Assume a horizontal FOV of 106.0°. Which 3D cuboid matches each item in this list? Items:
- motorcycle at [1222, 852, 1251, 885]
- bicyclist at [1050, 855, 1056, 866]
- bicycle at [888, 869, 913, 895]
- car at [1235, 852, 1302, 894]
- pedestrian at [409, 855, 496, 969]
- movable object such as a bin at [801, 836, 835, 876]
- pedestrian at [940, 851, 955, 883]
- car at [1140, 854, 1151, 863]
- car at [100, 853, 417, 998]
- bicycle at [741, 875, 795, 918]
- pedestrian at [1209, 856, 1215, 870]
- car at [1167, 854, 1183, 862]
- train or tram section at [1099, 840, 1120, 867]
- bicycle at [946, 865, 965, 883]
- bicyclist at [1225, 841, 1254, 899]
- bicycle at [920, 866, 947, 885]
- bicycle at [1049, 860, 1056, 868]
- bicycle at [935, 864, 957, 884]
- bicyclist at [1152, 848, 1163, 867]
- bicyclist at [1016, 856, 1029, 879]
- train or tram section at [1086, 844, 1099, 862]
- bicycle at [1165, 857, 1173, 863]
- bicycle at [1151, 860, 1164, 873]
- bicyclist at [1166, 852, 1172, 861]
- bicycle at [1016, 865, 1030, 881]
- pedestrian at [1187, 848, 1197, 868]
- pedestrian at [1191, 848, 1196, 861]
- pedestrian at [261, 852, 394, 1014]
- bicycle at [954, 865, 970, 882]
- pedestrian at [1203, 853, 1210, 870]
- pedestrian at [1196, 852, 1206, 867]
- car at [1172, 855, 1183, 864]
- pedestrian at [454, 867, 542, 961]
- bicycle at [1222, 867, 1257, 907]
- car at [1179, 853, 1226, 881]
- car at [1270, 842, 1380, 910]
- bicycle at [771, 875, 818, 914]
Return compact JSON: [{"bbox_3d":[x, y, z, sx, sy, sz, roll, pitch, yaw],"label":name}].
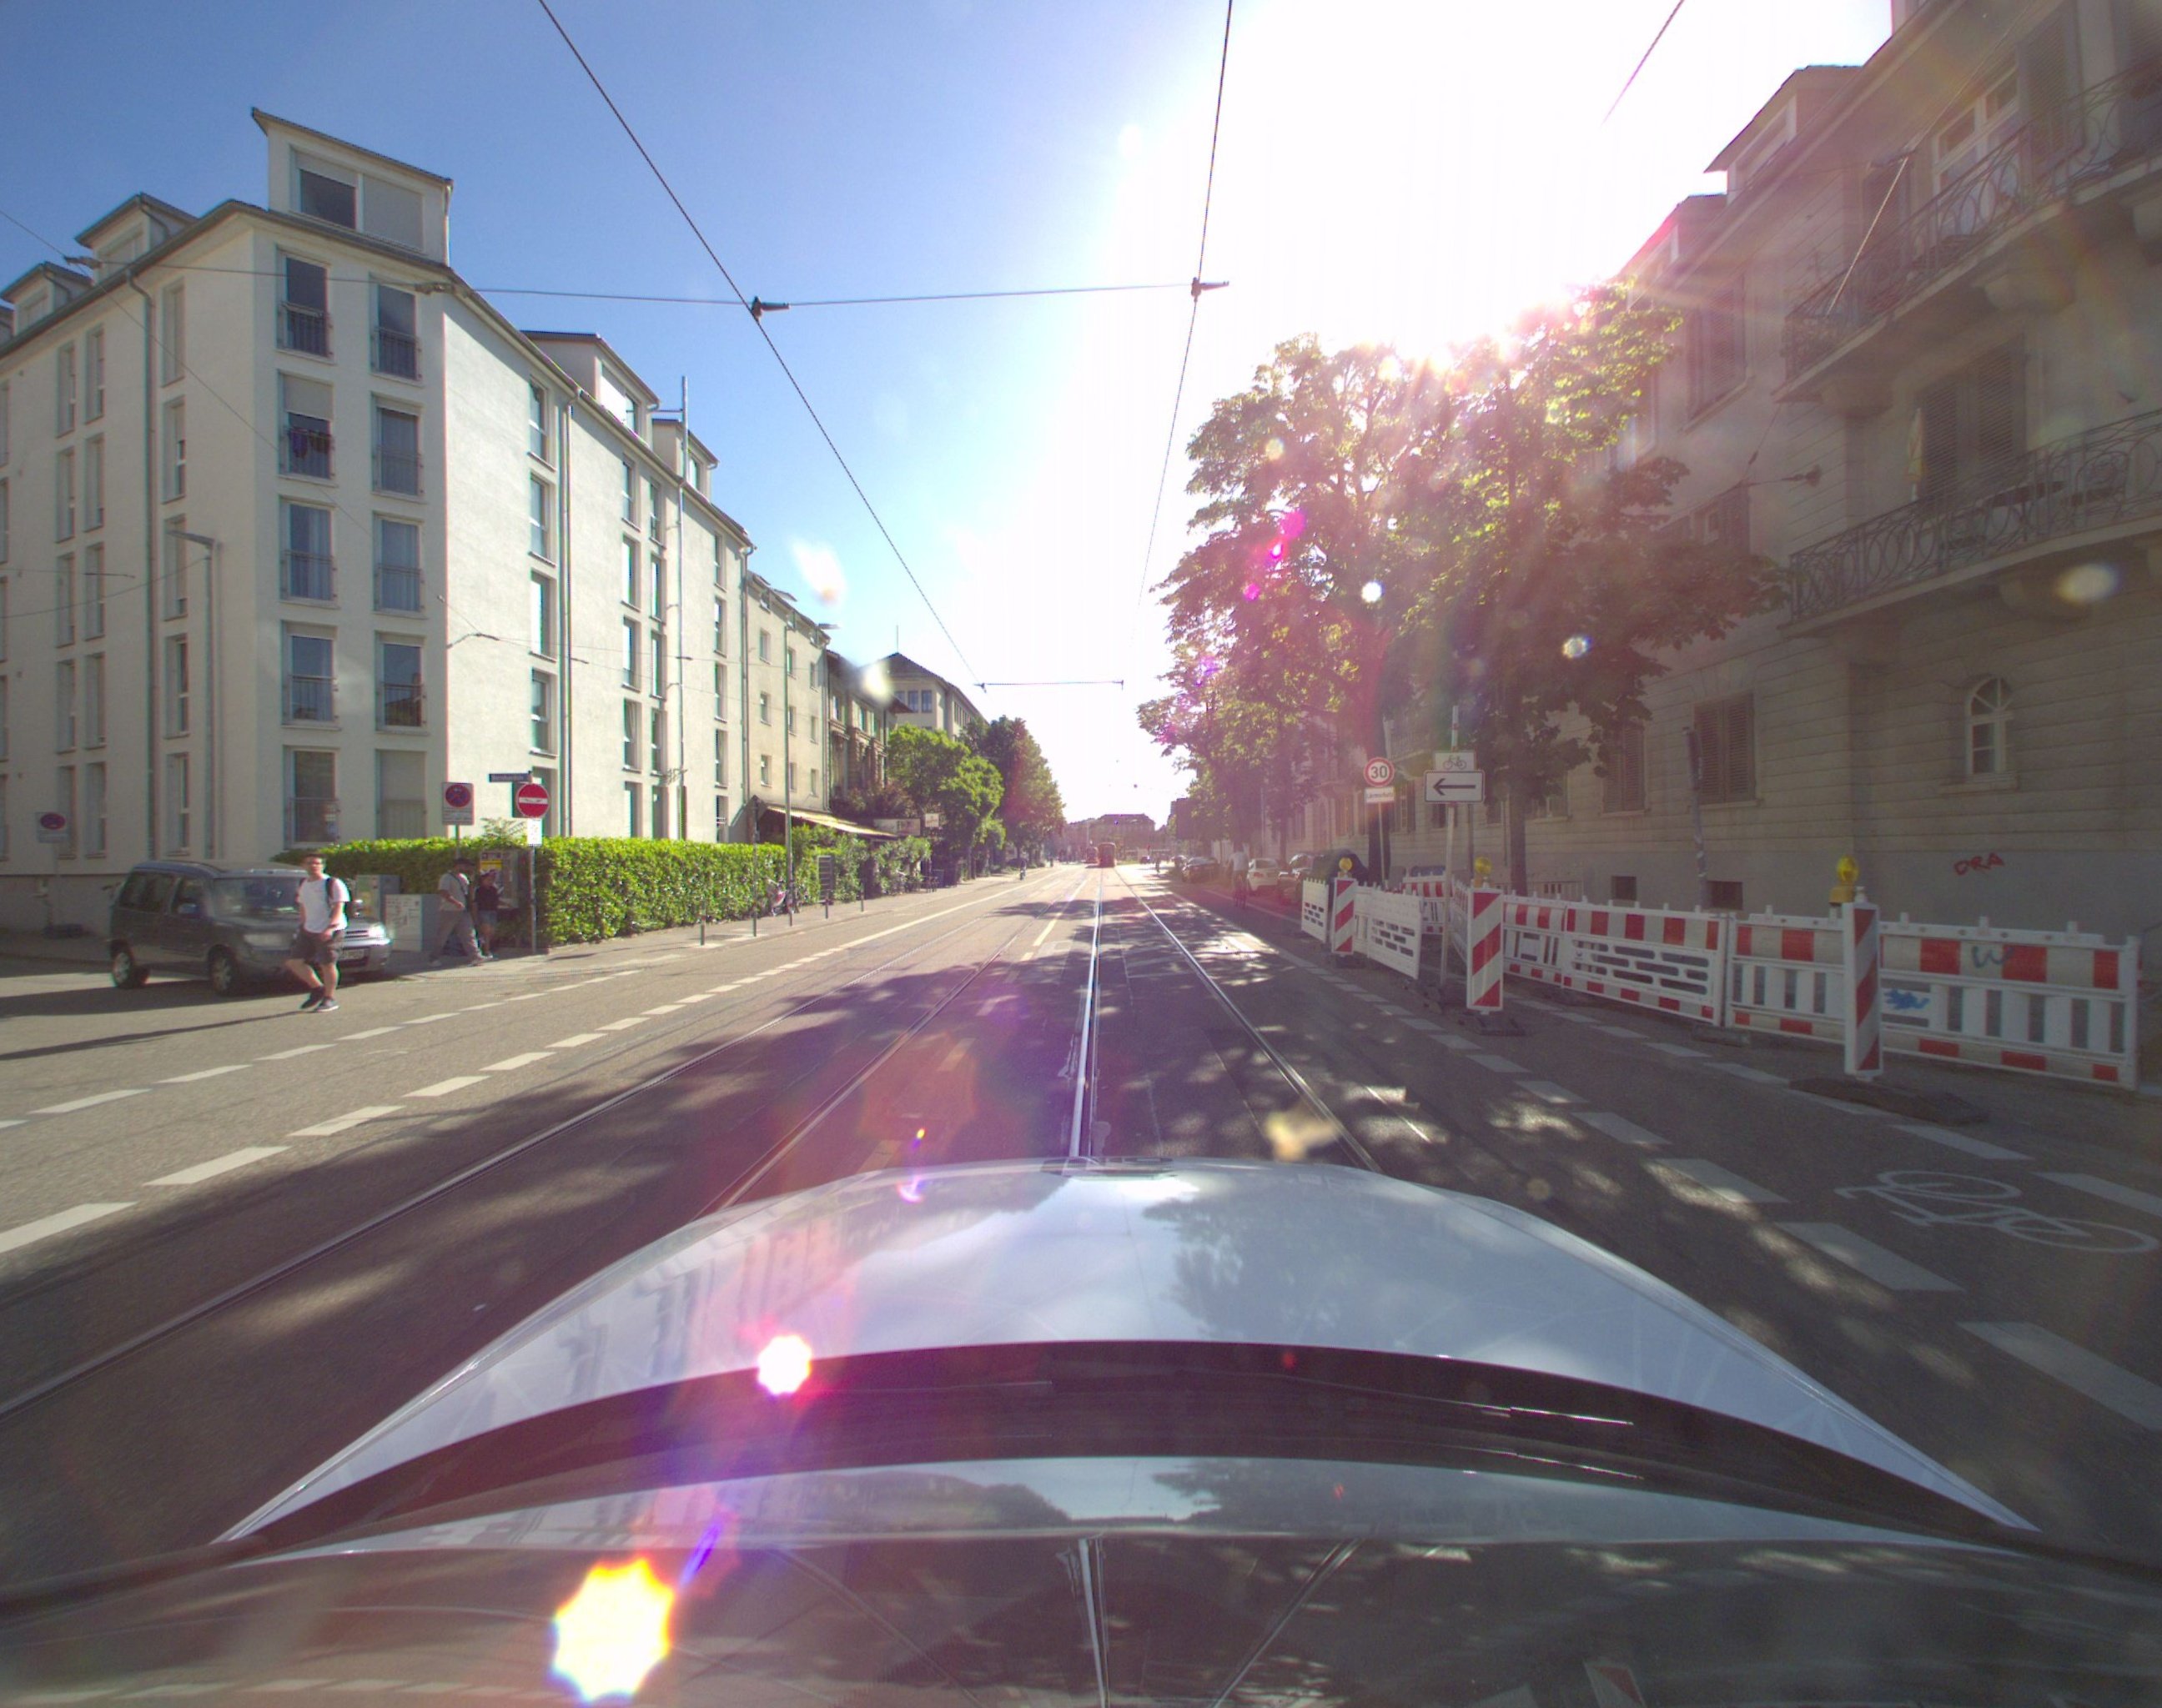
[{"bbox_3d":[7.450,0.666,39.158,0.910,1.488,2.681,-3,0,3],"label":"motorcycle"},{"bbox_3d":[-4.142,0.935,119.321,0.683,1.644,1.239,-3,-1,6],"label":"bicyclist"},{"bbox_3d":[-8.136,1.249,36.756,0.636,1.059,1.744,1,0,3],"label":"bicycle"},{"bbox_3d":[6.998,0.664,30.737,1.716,1.382,4.359,-3,0,3],"label":"car"},{"bbox_3d":[-9.906,0.885,12.852,0.799,1.714,0.761,1,0,21],"label":"pedestrian"},{"bbox_3d":[-9.975,0.084,30.934,0.804,1.456,1.258,-2,0,0],"label":"movable object such as a bin"},{"bbox_3d":[-7.764,0.739,47.513,0.570,1.831,0.693,-1,-1,20],"label":"pedestrian"},{"bbox_3d":[11.652,0.765,147.831,1.779,1.604,3.721,0,0,8],"label":"car"},{"bbox_3d":[-11.859,0.956,11.766,4.005,1.807,1.801,-2,-2,22],"label":"car"},{"bbox_3d":[-8.653,1.158,22.595,0.659,1.089,1.841,2,-1,2],"label":"bicycle"},{"bbox_3d":[12.820,0.860,79.518,0.515,1.404,0.765,-1,0,4],"label":"pedestrian"},{"bbox_3d":[19.606,0.772,170.308,1.685,1.643,3.736,0,0,37],"label":"car"},{"bbox_3d":[4.041,-0.167,118.528,2.732,3.651,13.787,-1,0,1],"label":"train or tram section"},{"bbox_3d":[-7.963,1.256,51.784,0.586,1.045,1.910,0,0,10],"label":"bicycle"},{"bbox_3d":[4.701,0.478,24.231,0.735,1.686,0.972,0,0,3],"label":"bicyclist"},{"bbox_3d":[-8.568,1.257,47.480,0.631,1.045,2.031,-1,0,18],"label":"bicycle"},{"bbox_3d":[-4.116,1.409,119.336,0.683,1.124,1.934,-3,0,6],"label":"bicycle"},{"bbox_3d":[-8.145,1.171,49.190,0.642,1.143,1.910,1,0,10],"label":"bicycle"},{"bbox_3d":[6.804,0.335,72.125,0.699,1.675,1.107,1,0,21],"label":"bicyclist"},{"bbox_3d":[-4.260,0.988,59.481,0.742,1.599,1.118,-4,-1,3],"label":"bicyclist"},{"bbox_3d":[2.499,-0.268,177.616,2.732,3.651,13.787,-1,0,1],"label":"train or tram section"},{"bbox_3d":[16.185,1.124,150.083,0.698,1.055,2.327,1,1,26],"label":"bicycle"},{"bbox_3d":[6.801,1.101,72.143,0.699,1.104,1.726,1,0,21],"label":"bicycle"},{"bbox_3d":[16.226,0.495,150.132,0.698,1.700,0.993,1,1,26],"label":"bicyclist"},{"bbox_3d":[-4.230,1.408,59.482,0.742,1.082,1.900,-4,0,3],"label":"bicycle"},{"bbox_3d":[10.502,0.373,77.136,0.681,1.849,0.955,-2,0,0],"label":"pedestrian"},{"bbox_3d":[17.577,0.086,127.199,0.635,1.903,1.135,-3,0,3],"label":"pedestrian"},{"bbox_3d":[-8.642,0.872,9.377,0.689,1.768,0.866,-1,0,1],"label":"pedestrian"},{"bbox_3d":[-7.832,1.266,53.790,0.587,1.045,1.907,1,0,5],"label":"bicycle"},{"bbox_3d":[12.263,0.757,79.534,0.515,1.600,0.765,-1,-1,4],"label":"pedestrian"},{"bbox_3d":[12.671,0.585,85.979,0.853,1.641,0.994,-1,-2,4],"label":"pedestrian"},{"bbox_3d":[17.678,1.008,148.739,1.781,1.511,3.717,0,0,4],"label":"car"},{"bbox_3d":[-9.715,0.977,13.584,0.945,1.478,0.761,1,0,21],"label":"pedestrian"},{"bbox_3d":[4.700,0.962,24.241,0.735,1.094,2.113,0,0,4],"label":"bicycle"},{"bbox_3d":[7.003,0.697,47.349,1.817,1.458,4.815,-3,0,-2],"label":"car"},{"bbox_3d":[6.708,0.562,22.925,1.803,1.626,4.586,-3,0,2],"label":"car"},{"bbox_3d":[-8.607,1.190,24.565,0.659,1.089,1.841,2,-1,2],"label":"bicycle"}]
